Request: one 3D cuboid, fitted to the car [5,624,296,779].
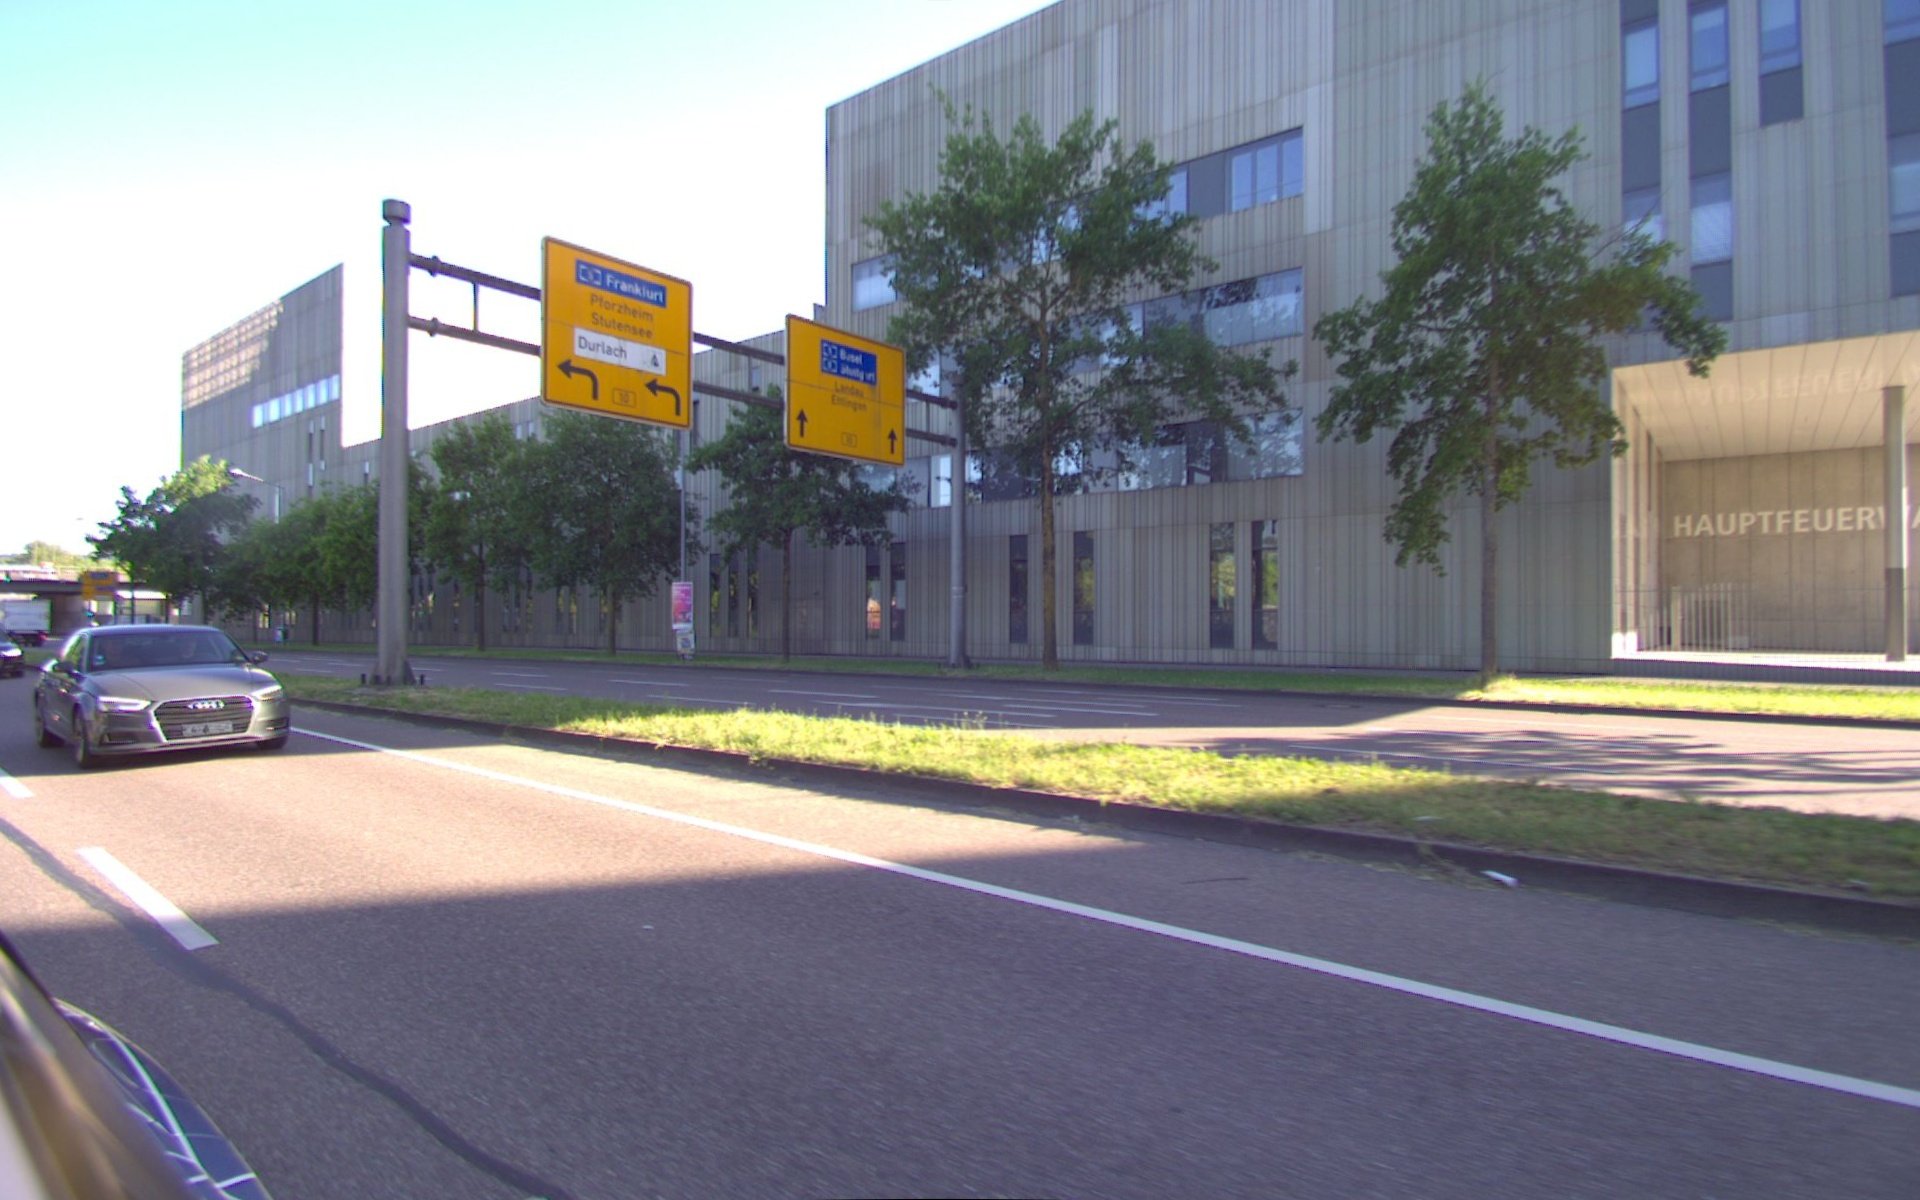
[{"bbox_3d":[-9.188,0.986,11.363,4.360,1.415,1.681,-1,-1,39],"label":"car"}]

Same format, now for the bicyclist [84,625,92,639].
[{"bbox_3d":[-93.519,3.425,108.582,0.752,1.453,0.502,-2,-2,38],"label":"bicyclist"}]

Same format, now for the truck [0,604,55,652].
[{"bbox_3d":[-61.391,1.835,65.800,7.107,2.983,2.659,-1,-4,40],"label":"truck"}]

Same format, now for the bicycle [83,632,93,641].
[{"bbox_3d":[-93.517,3.905,108.572,1.752,0.897,0.507,-2,-2,38],"label":"bicycle"}]

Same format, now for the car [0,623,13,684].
[{"bbox_3d":[-26.269,1.410,26.432,3.942,1.549,1.681,-1,0,39],"label":"car"}]
